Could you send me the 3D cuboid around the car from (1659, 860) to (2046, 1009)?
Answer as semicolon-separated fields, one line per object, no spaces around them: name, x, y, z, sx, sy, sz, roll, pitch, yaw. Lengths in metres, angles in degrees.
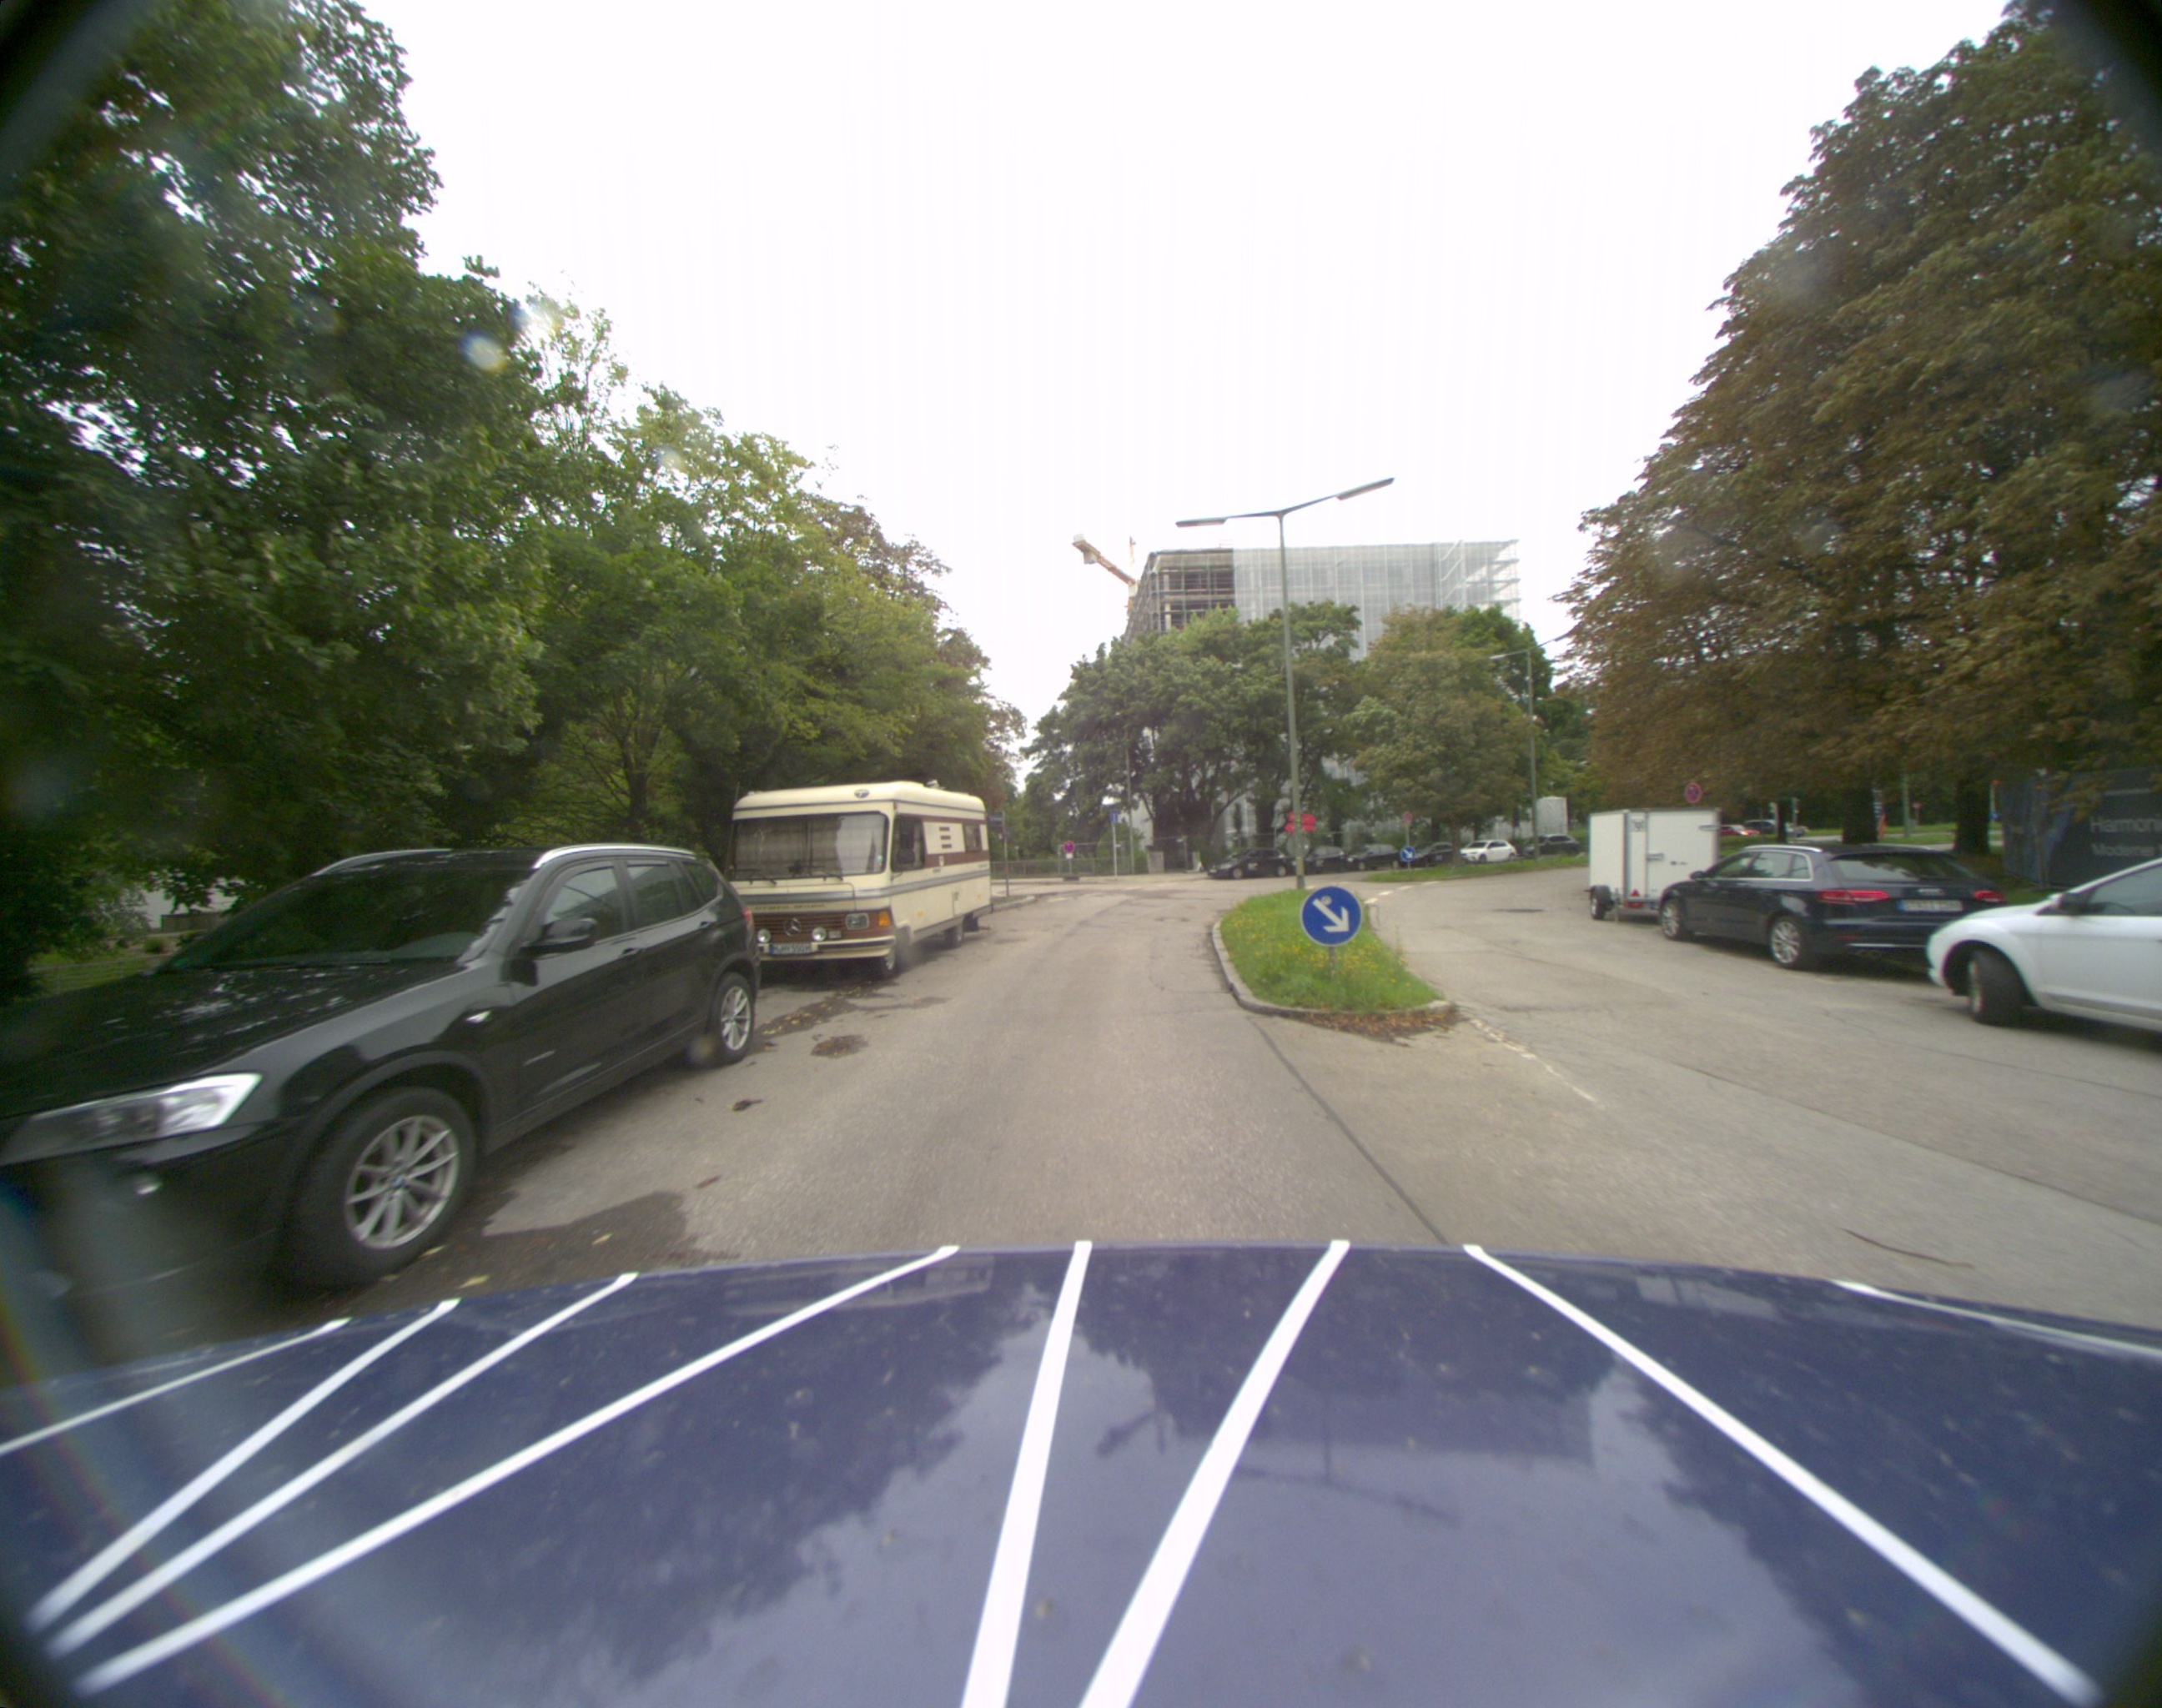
car;9.124;0.808;9.503;1.692;1.404;3.799;0;0;15

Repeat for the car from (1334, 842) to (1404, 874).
car;15.419;0.191;40.661;3.267;1.564;1.656;-2;2;-23

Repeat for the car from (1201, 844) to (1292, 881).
car;7.848;0.384;36.056;3.891;1.564;1.786;-2;2;-24

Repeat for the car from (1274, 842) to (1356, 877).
car;11.816;0.257;38.320;3.892;1.564;1.785;-2;2;-29

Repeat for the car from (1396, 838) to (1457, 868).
car;19.378;-0.061;42.644;2.916;1.564;1.518;-2;2;-20

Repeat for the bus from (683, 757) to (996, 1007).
bus;-3.027;0.306;11.345;2.077;2.714;5.869;-2;0;7

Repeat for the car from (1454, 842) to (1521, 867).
car;24.145;0.004;45.097;3.724;1.379;1.517;-2;2;-24

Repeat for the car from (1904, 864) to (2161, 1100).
car;7.630;0.822;4.452;1.740;1.450;4.034;0;0;11

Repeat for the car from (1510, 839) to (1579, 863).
car;28.326;-0.205;46.414;3.722;1.379;1.518;-2;2;-17

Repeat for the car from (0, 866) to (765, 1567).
car;-3.491;0.939;3.918;1.782;1.630;4.397;-2;0;1

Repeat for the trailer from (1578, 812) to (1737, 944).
trailer;10.543;0.373;14.127;1.779;2.169;2.781;0;1;24
